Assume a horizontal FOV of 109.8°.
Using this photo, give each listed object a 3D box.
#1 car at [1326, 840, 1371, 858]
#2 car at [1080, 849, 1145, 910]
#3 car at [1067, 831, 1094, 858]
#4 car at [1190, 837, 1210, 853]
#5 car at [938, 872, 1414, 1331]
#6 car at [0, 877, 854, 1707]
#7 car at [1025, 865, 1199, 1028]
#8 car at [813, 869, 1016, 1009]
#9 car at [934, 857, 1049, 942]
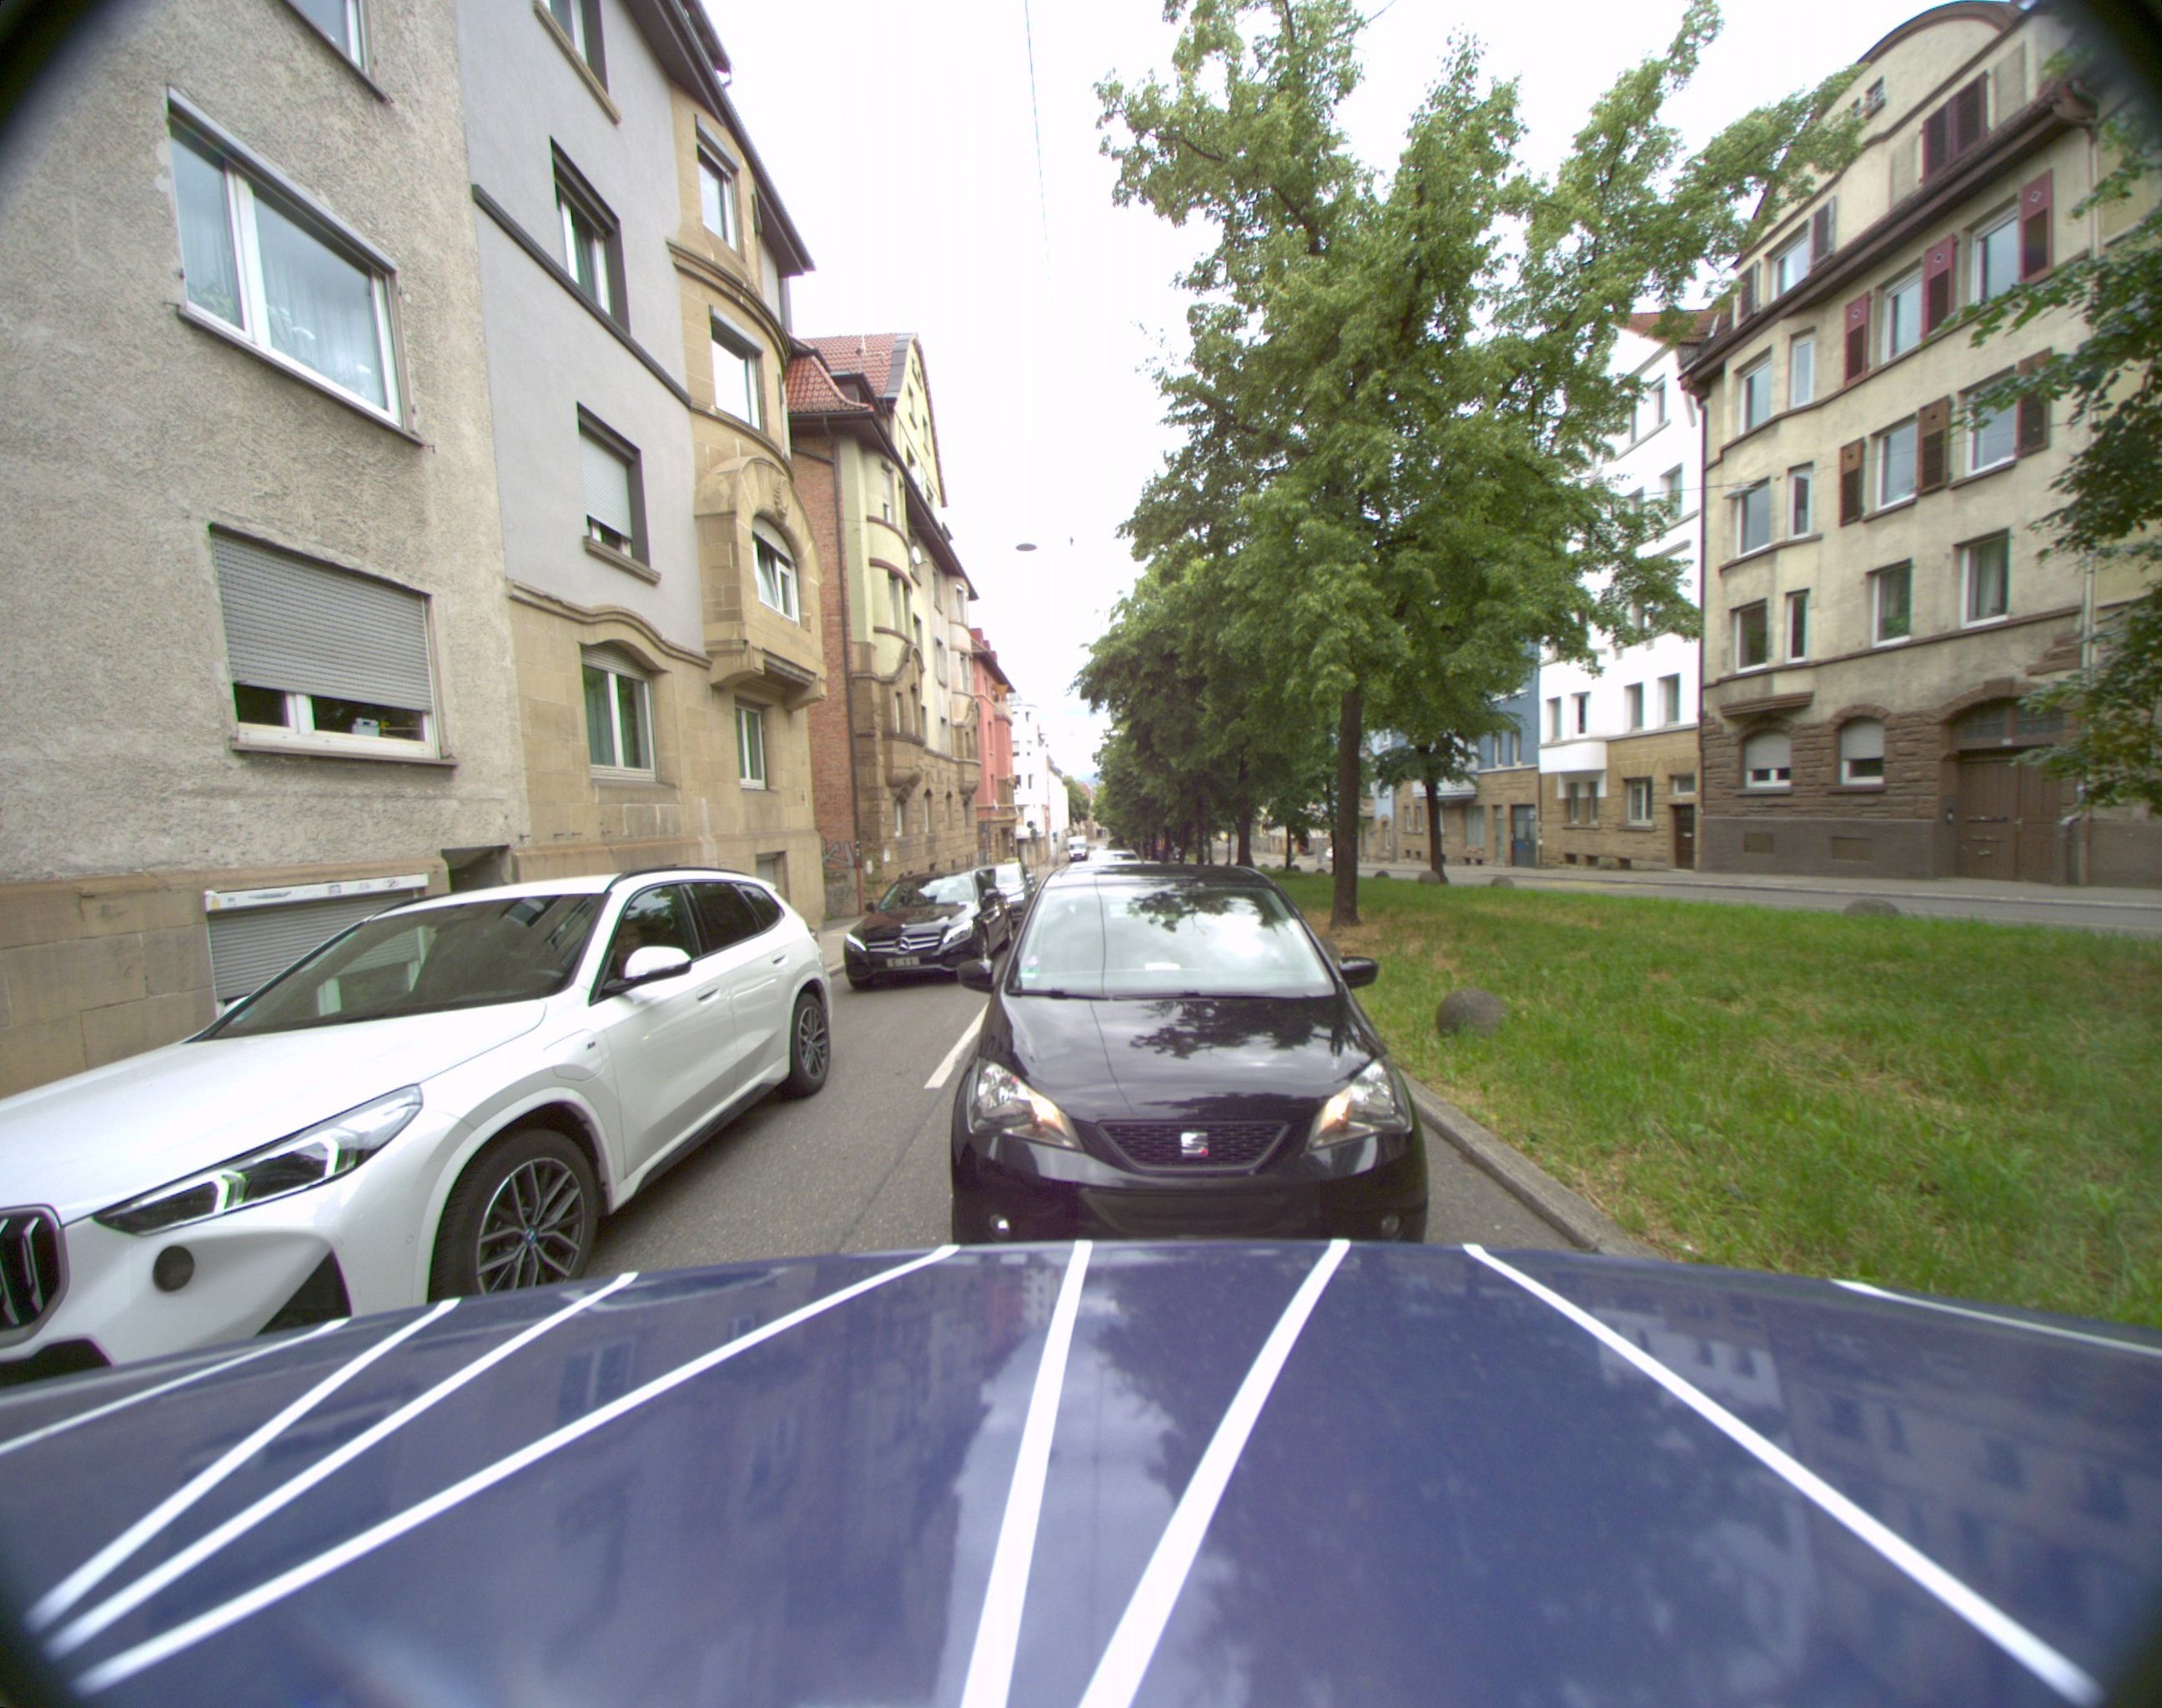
[{"bbox_3d":[22.161,-0.431,63.091,3.291,1.323,1.672,-2,1,10],"label":"car"},{"bbox_3d":[0.826,0.634,21.273,1.607,1.492,3.737,-2,1,1],"label":"car"},{"bbox_3d":[-0.008,-1.125,87.735,2.716,2.879,6.453,-2,1,2],"label":"car"},{"bbox_3d":[15.656,-1.150,100.153,1.998,1.933,5.308,-3,0,4],"label":"car"},{"bbox_3d":[0.346,0.892,4.241,1.611,1.457,3.296,0,1,1],"label":"car"},{"bbox_3d":[-2.784,1.075,3.740,1.859,1.547,4.350,-6,1,0],"label":"car"},{"bbox_3d":[0.331,0.939,9.281,1.664,1.456,3.580,-2,1,1],"label":"car"},{"bbox_3d":[-2.178,1.064,11.214,1.884,1.369,4.205,-6,1,1],"label":"car"},{"bbox_3d":[-1.968,0.968,18.014,1.936,1.506,4.303,-6,1,2],"label":"car"}]
